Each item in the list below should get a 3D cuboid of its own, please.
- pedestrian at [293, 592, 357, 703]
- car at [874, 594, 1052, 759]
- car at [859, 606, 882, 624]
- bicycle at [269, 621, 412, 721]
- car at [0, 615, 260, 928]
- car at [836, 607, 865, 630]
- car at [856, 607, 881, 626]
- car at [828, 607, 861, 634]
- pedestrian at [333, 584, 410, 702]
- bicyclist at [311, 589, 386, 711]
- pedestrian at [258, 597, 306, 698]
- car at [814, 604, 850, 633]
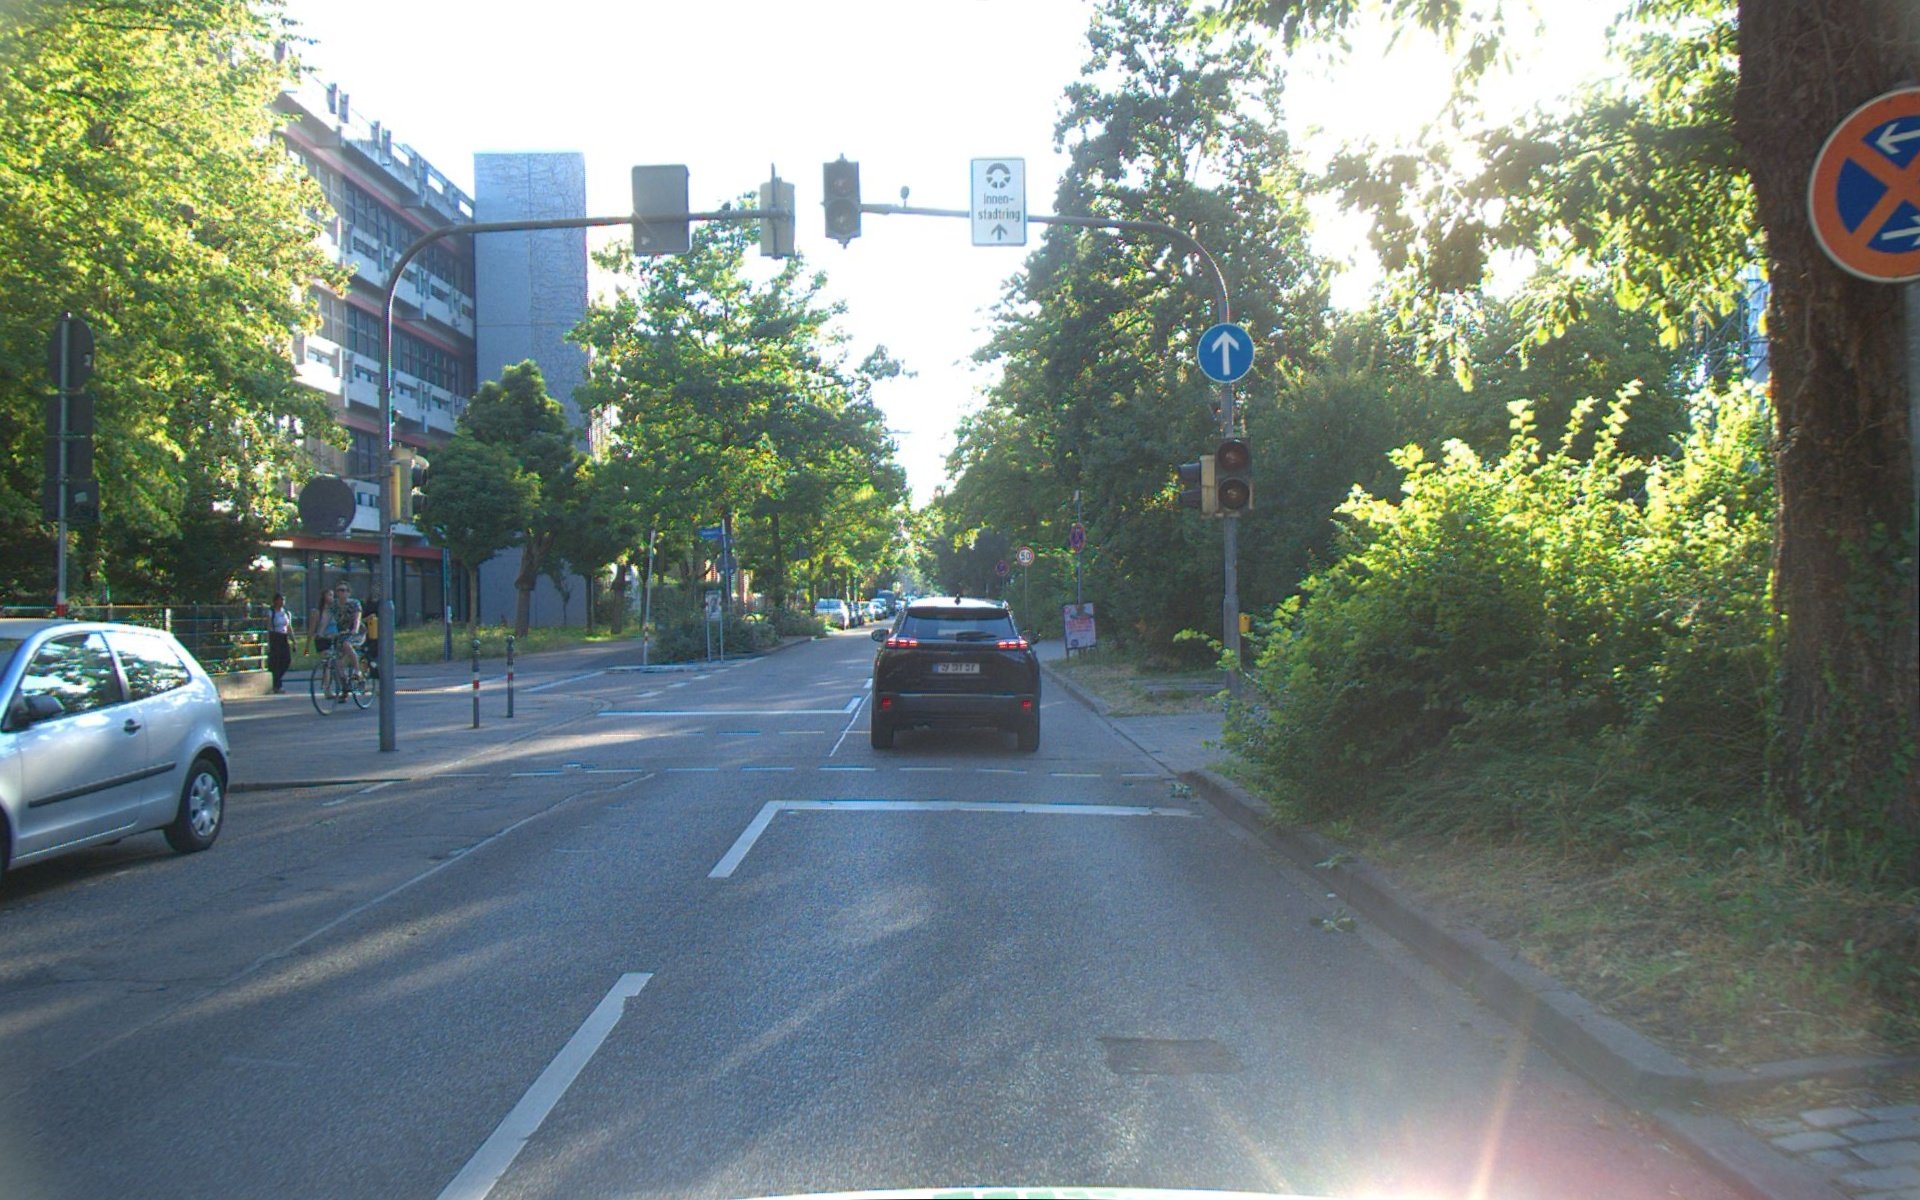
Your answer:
[{"bbox_3d":[-9.940,0.735,25.891,0.709,1.692,0.697,-1,0,-41],"label":"pedestrian"},{"bbox_3d":[-0.010,0.745,17.820,1.732,1.596,3.379,0,0,-1],"label":"car"},{"bbox_3d":[-7.388,1.239,135.998,1.775,1.378,3.996,-1,0,-5],"label":"car"},{"bbox_3d":[-8.373,0.929,22.469,0.672,1.271,2.194,0,0,15],"label":"bicycle"},{"bbox_3d":[-5.550,0.893,9.112,1.645,1.482,3.882,-2,0,1],"label":"car"},{"bbox_3d":[-6.855,1.141,103.437,1.775,1.378,3.996,-1,0,-5],"label":"car"},{"bbox_3d":[-6.981,1.218,125.947,1.775,1.378,3.975,-1,0,-5],"label":"car"},{"bbox_3d":[-6.443,1.116,92.115,1.775,1.378,3.996,-1,0,-5],"label":"car"},{"bbox_3d":[-9.528,0.678,26.770,0.941,1.855,0.817,-1,0,44],"label":"pedestrian"},{"bbox_3d":[-8.343,0.673,22.582,0.661,1.631,0.707,0,0,15],"label":"bicyclist"},{"bbox_3d":[-11.620,0.797,28.326,0.704,1.692,0.761,-1,0,-24],"label":"pedestrian"},{"bbox_3d":[-6.662,0.938,85.867,1.775,1.378,3.995,-1,0,-6],"label":"car"}]
